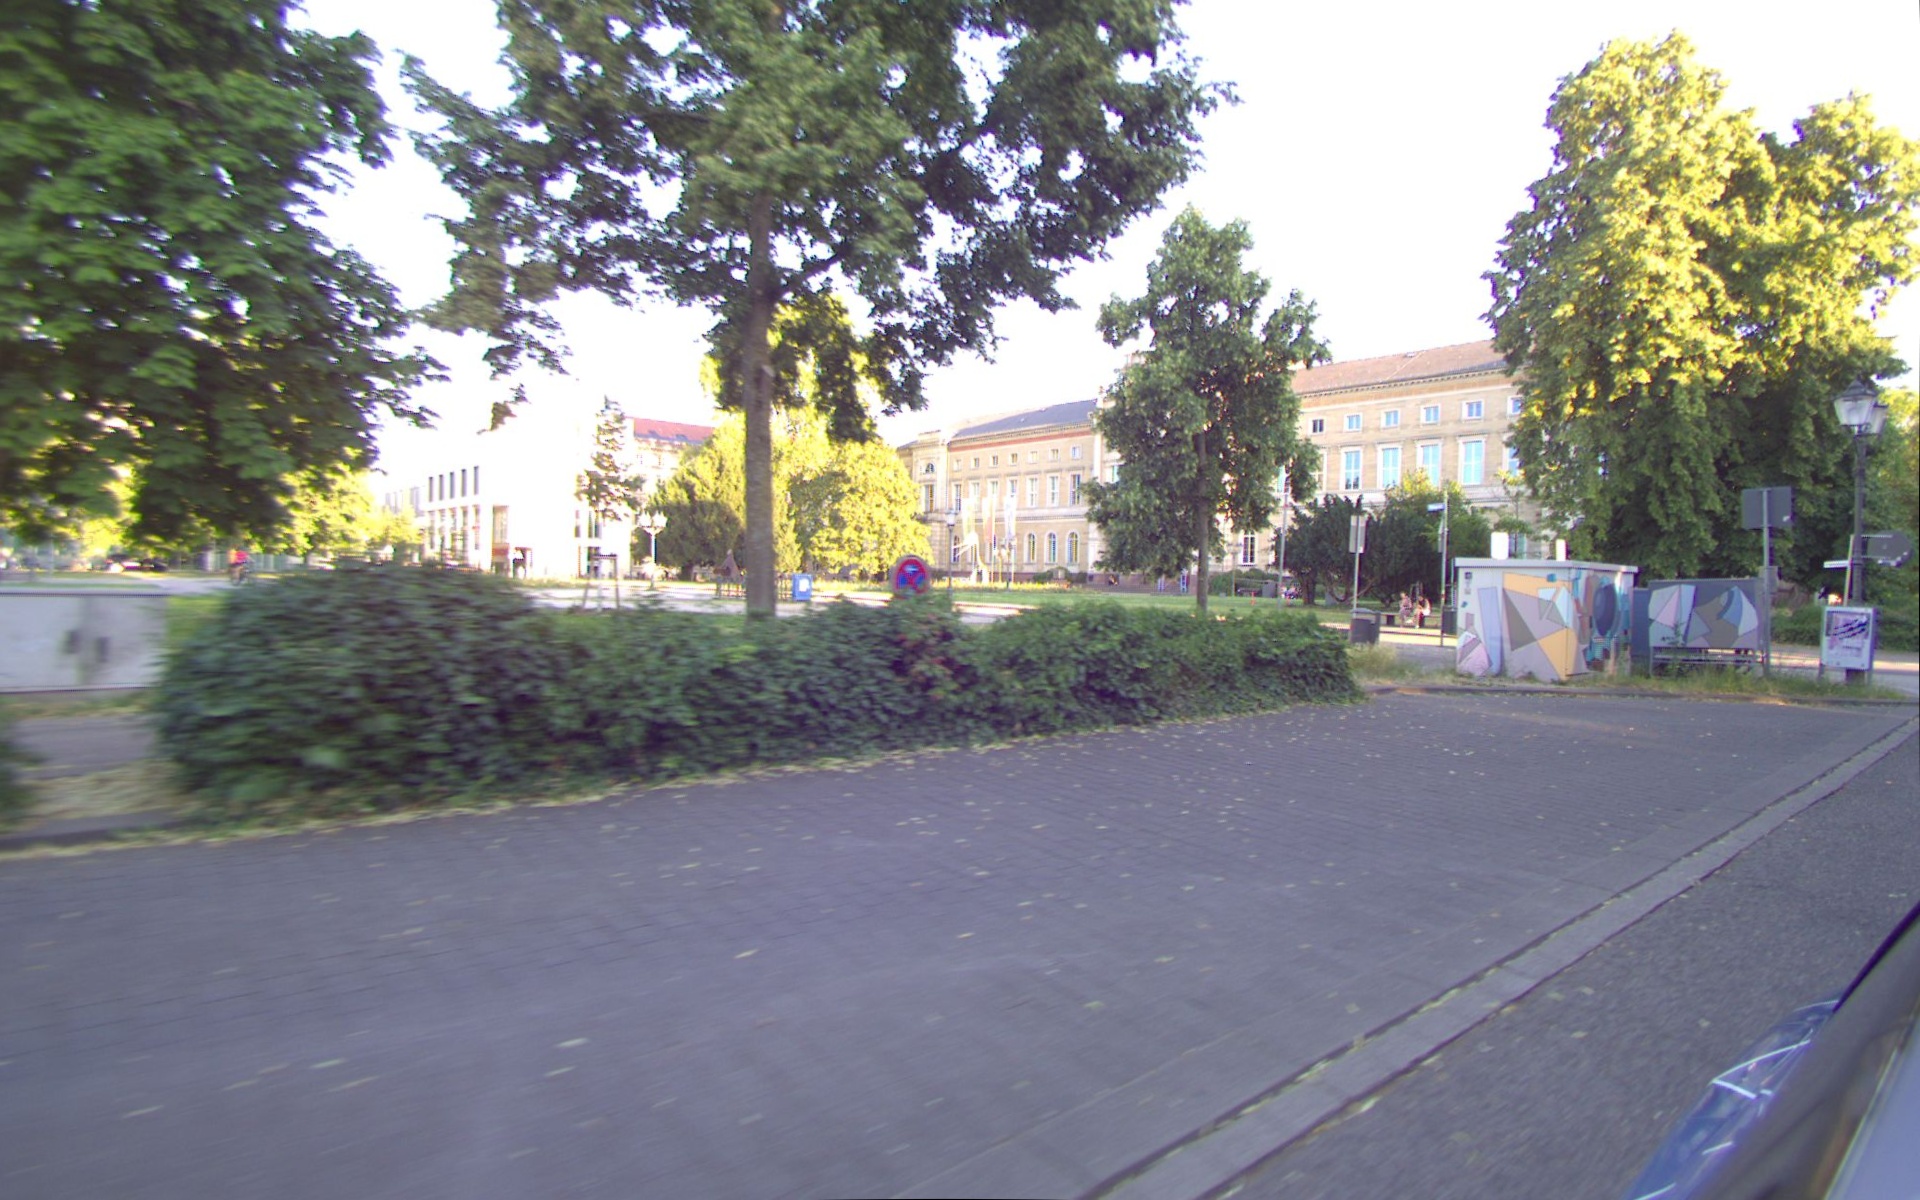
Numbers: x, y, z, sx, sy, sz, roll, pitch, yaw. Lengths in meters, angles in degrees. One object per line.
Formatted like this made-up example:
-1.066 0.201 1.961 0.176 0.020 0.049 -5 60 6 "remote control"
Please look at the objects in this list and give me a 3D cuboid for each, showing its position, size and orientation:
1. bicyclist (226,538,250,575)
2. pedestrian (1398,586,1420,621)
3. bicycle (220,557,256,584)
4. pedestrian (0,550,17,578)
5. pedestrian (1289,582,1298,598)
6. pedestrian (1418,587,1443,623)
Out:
-32.211 -1.934 45.170 0.671 1.652 0.653 2 1 28 "bicyclist"
15.969 0.110 35.987 0.499 1.229 0.583 2 1 44 "pedestrian"
-32.247 -1.323 45.187 1.758 1.191 0.560 2 1 28 "bicycle"
-48.625 -1.834 51.136 0.819 1.387 1.150 2 0 -4 "pedestrian"
27.109 -0.821 82.292 0.499 1.304 0.583 2 1 44 "pedestrian"
16.526 0.171 35.564 0.606 1.229 0.656 2 1 44 "pedestrian"
